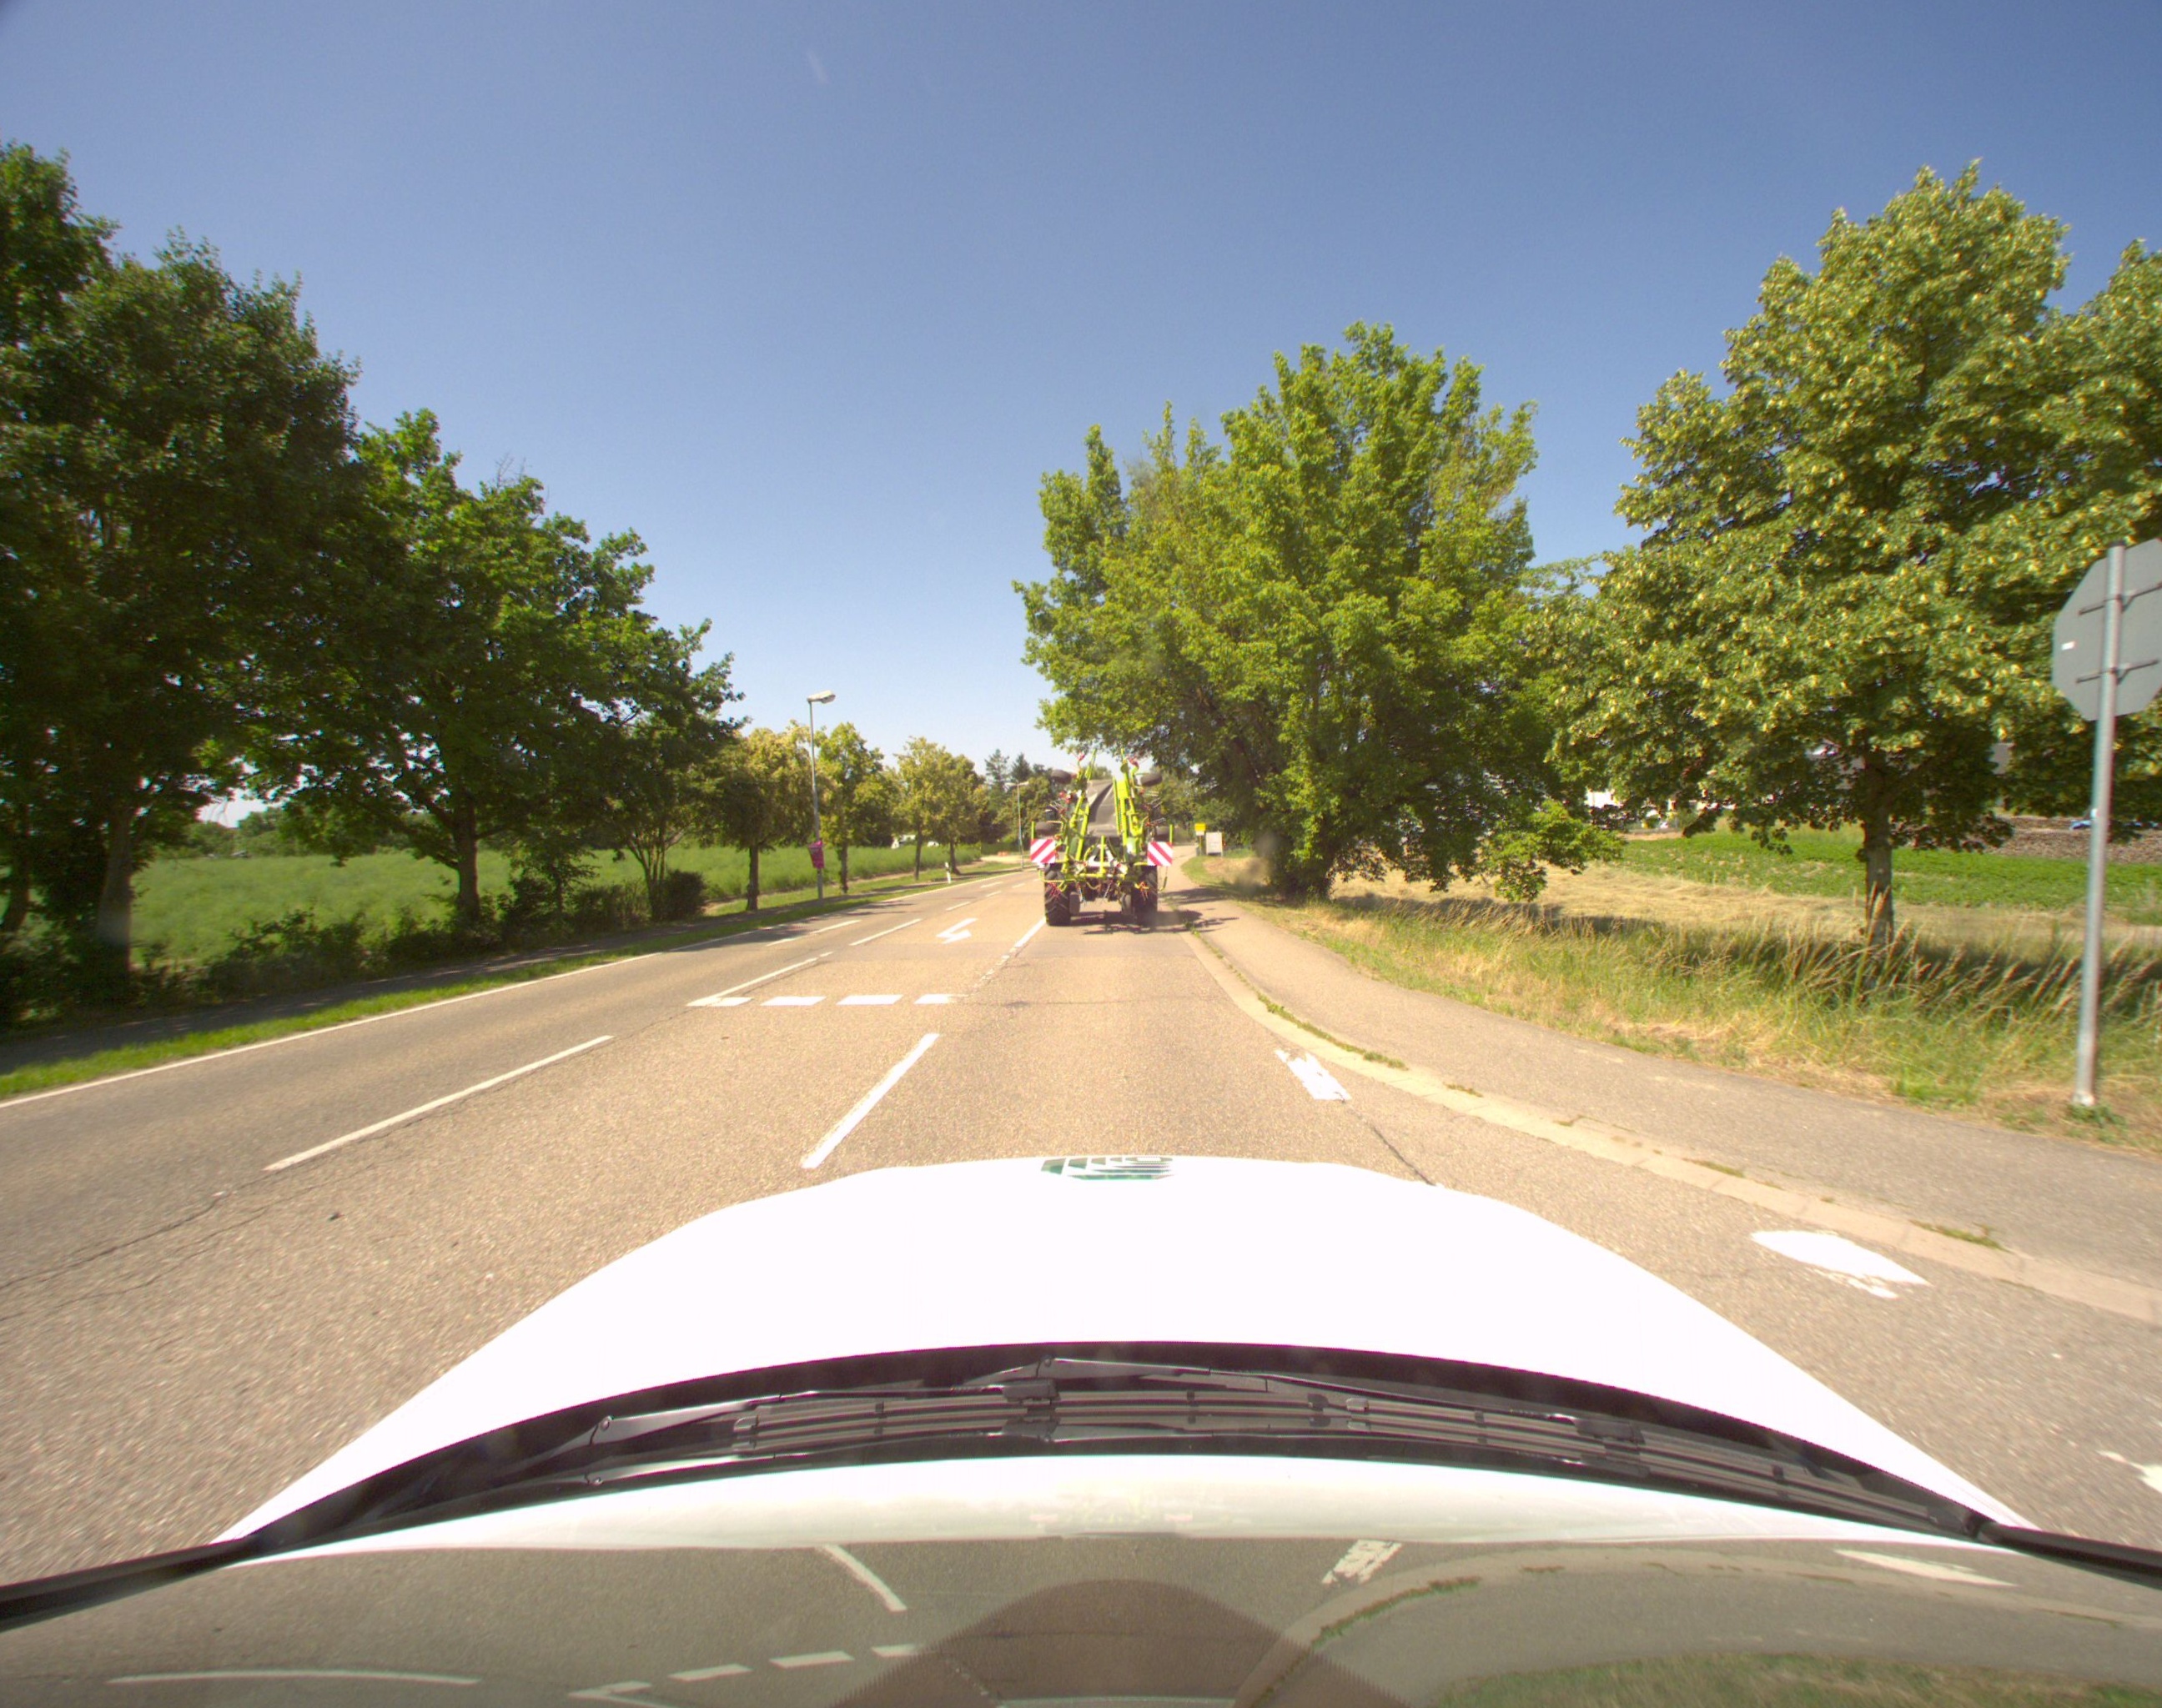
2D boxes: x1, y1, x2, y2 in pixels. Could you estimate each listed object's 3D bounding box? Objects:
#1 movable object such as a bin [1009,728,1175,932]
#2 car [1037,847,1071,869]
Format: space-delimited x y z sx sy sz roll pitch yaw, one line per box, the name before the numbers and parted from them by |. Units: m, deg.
movable object such as a bin | 0.277 -0.469 19.167 2.843 3.541 9.702 -1 1 1
car | -1.809 0.257 55.274 1.639 1.433 3.906 0 1 8
